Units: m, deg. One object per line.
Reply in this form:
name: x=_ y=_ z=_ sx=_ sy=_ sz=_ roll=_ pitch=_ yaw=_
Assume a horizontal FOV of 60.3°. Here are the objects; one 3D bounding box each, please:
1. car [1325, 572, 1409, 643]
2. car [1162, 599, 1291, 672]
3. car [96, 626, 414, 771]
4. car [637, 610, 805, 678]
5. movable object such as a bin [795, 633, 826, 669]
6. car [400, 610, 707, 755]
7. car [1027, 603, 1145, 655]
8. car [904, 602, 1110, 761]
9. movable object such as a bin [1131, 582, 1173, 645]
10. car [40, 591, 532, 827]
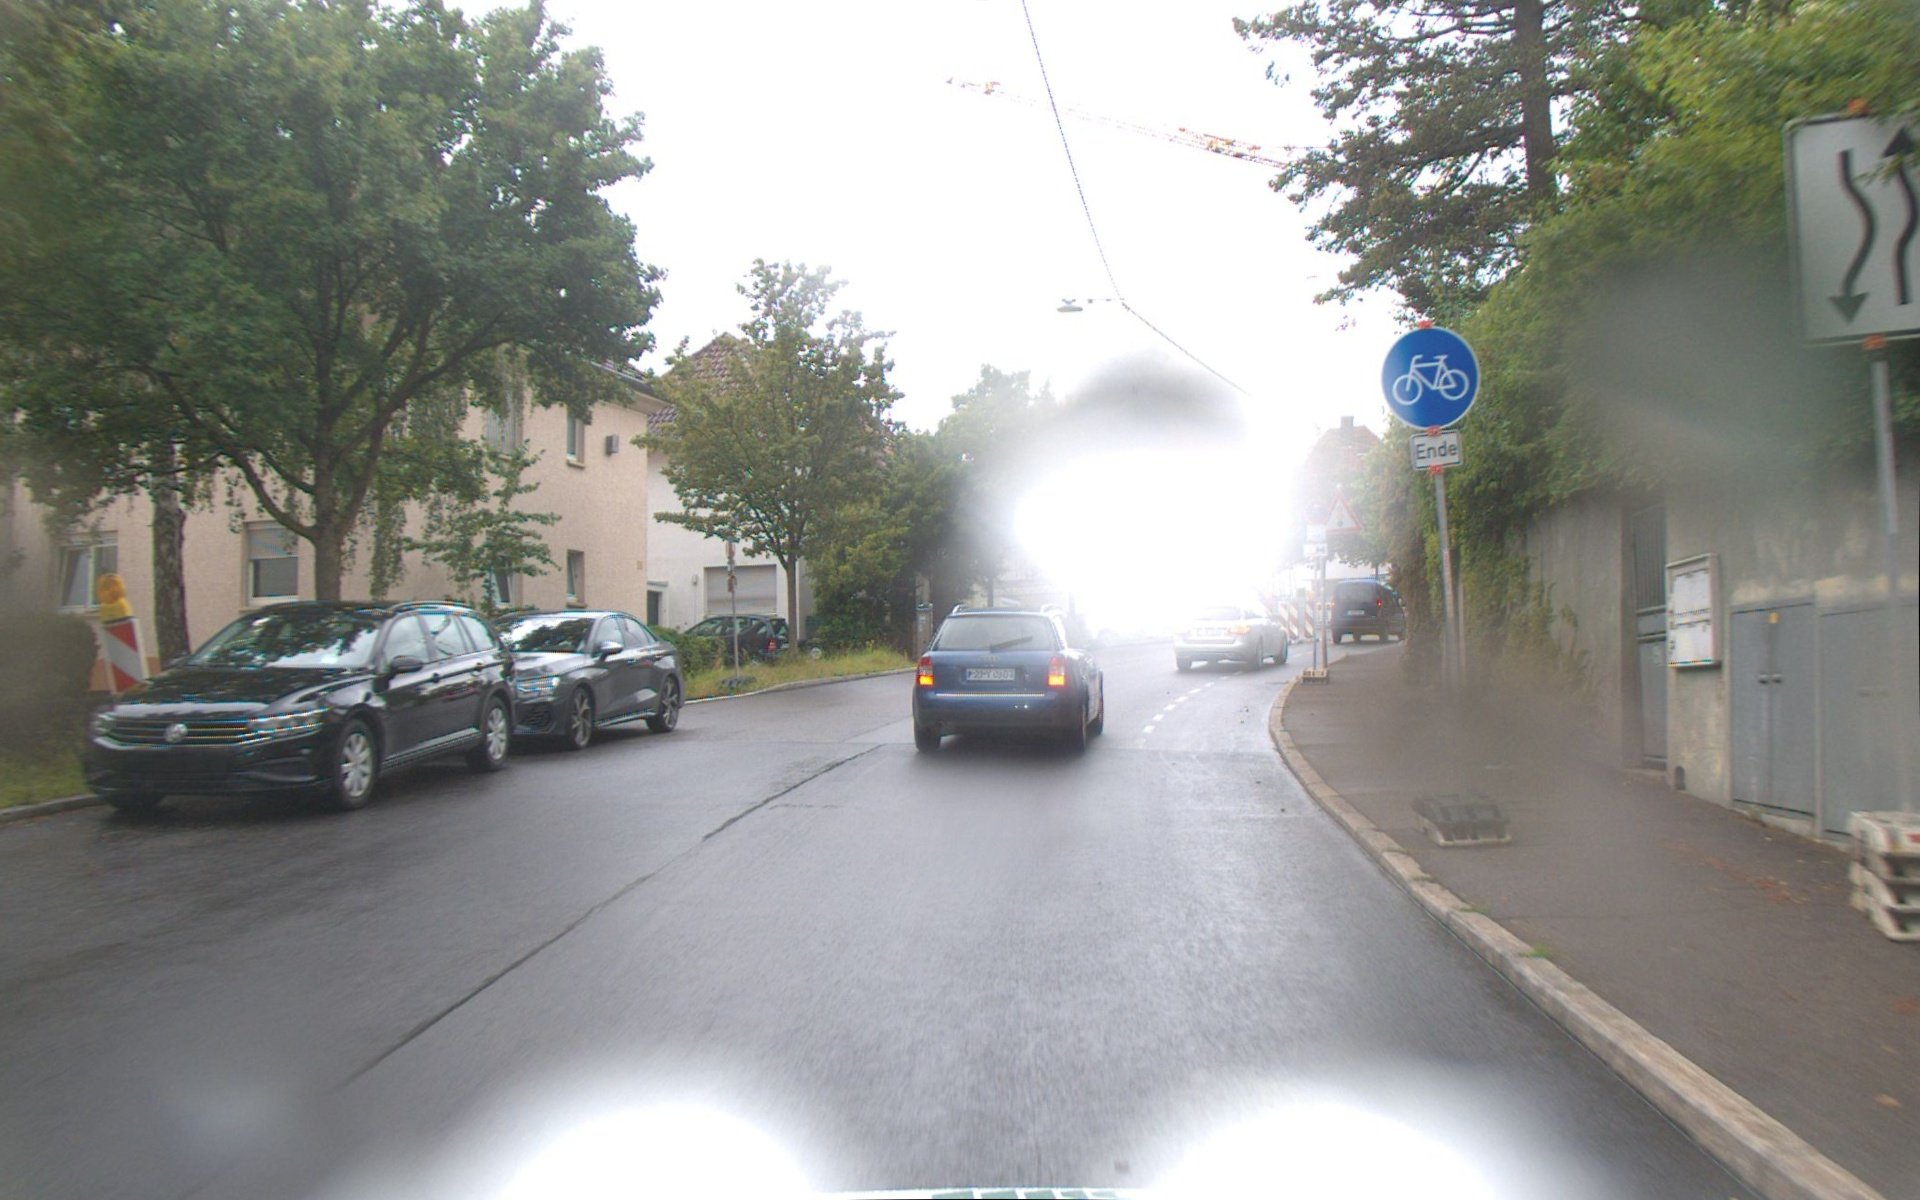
car: x=12.301 y=0.216 z=49.793 sx=1.696 sy=1.927 sz=4.054 roll=-5 pitch=-2 yaw=23
car: x=5.728 y=0.724 z=35.137 sx=1.869 sy=1.413 sz=4.351 roll=-1 pitch=0 yaw=20
car: x=-10.717 y=1.484 z=25.173 sx=4.154 sy=1.530 sz=1.914 roll=-10 pitch=-3 yaw=19
car: x=-6.184 y=1.103 z=42.911 sx=3.858 sy=1.570 sz=1.864 roll=2 pitch=1 yaw=19
movable object such as a bin: x=-4.000 y=1.367 z=44.246 sx=0.655 sy=0.937 sz=0.592 roll=0 pitch=0 yaw=19
car: x=-4.340 y=0.819 z=18.465 sx=1.670 sy=1.407 sz=4.534 roll=0 pitch=0 yaw=9
car: x=4.925 y=1.139 z=64.579 sx=4.111 sy=1.632 sz=1.951 roll=-6 pitch=-3 yaw=20
car: x=0.614 y=0.770 z=17.380 sx=1.739 sy=1.464 sz=4.003 roll=0 pitch=0 yaw=8
movable object such as a bin: x=8.088 y=0.552 z=69.615 sx=1.285 sy=2.549 sz=1.386 roll=-3 pitch=-1 yaw=22
car: x=-4.938 y=0.710 z=12.920 sx=1.696 sy=1.510 sz=4.532 roll=0 pitch=0 yaw=4
